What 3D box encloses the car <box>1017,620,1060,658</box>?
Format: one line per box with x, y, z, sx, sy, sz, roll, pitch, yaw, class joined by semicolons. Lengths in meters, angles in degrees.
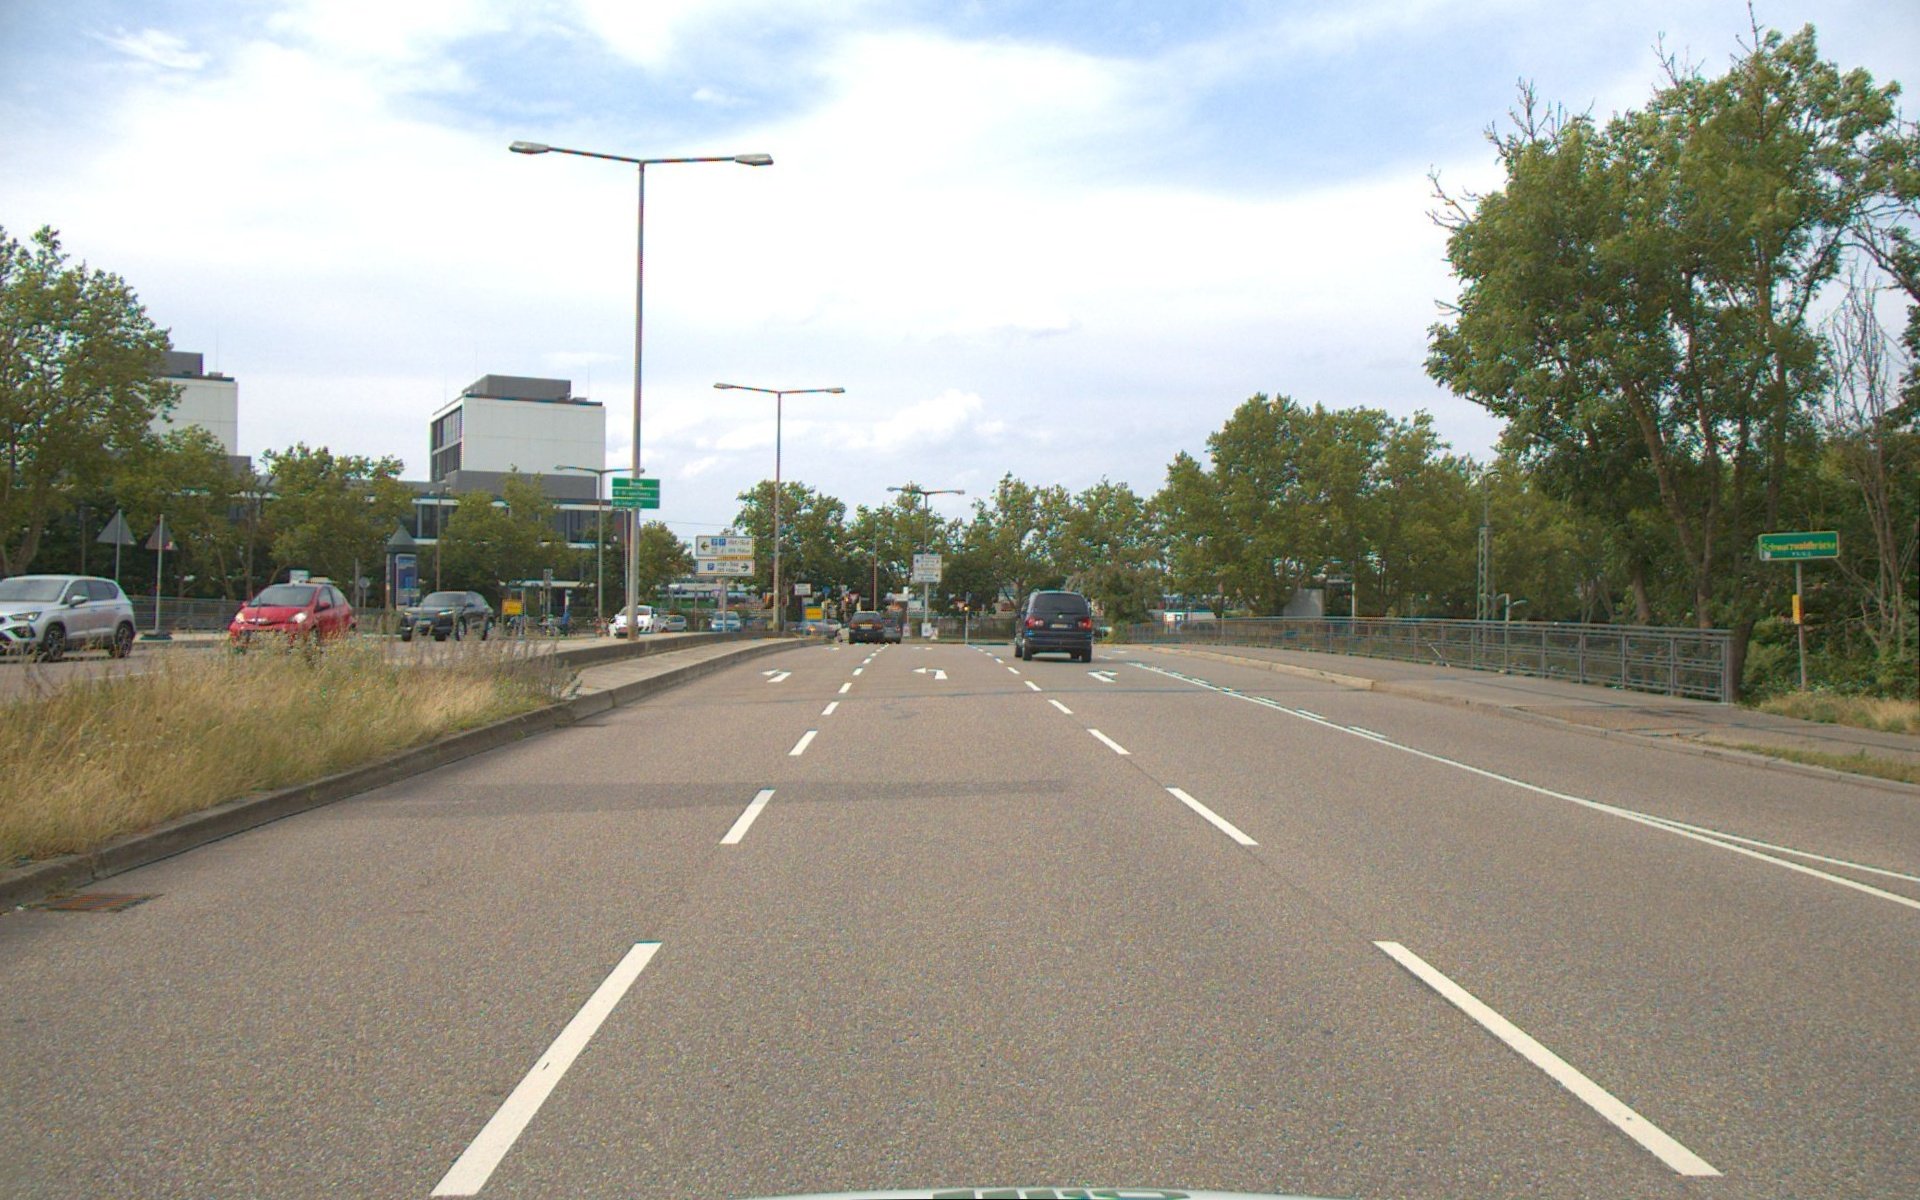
3.870;1.923;81.943;1.696;1.681;4.113;2;1;-3;car

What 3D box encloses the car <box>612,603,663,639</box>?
-14.330;0.902;73.644;1.702;1.508;4.080;-1;0;-4;car

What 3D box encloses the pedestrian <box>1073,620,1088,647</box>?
7.487;2.069;102.739;0.776;1.671;0.801;2;0;-1;pedestrian

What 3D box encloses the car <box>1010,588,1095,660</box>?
2.312;0.569;42.314;1.696;1.681;4.113;2;1;-3;car

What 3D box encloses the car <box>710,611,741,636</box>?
-12.404;1.208;87.336;1.475;1.235;4.074;-1;0;-10;car

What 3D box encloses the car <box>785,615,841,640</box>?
-9.681;1.791;108.732;3.569;1.443;1.726;2;1;42;car

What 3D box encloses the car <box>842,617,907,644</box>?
-5.511;1.944;106.047;4.037;1.553;1.728;2;1;39;car

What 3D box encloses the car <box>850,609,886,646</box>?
-4.532;1.330;81.678;1.696;1.681;4.113;2;1;-3;car

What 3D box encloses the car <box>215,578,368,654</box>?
-13.927;0.321;34.699;1.757;1.466;3.796;-1;0;-2;car

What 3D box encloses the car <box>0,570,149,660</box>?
-16.968;0.277;30.794;1.757;1.551;4.187;-1;0;-2;car

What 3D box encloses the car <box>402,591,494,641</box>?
-17.054;0.508;55.257;1.883;1.551;4.187;-1;0;-2;car
